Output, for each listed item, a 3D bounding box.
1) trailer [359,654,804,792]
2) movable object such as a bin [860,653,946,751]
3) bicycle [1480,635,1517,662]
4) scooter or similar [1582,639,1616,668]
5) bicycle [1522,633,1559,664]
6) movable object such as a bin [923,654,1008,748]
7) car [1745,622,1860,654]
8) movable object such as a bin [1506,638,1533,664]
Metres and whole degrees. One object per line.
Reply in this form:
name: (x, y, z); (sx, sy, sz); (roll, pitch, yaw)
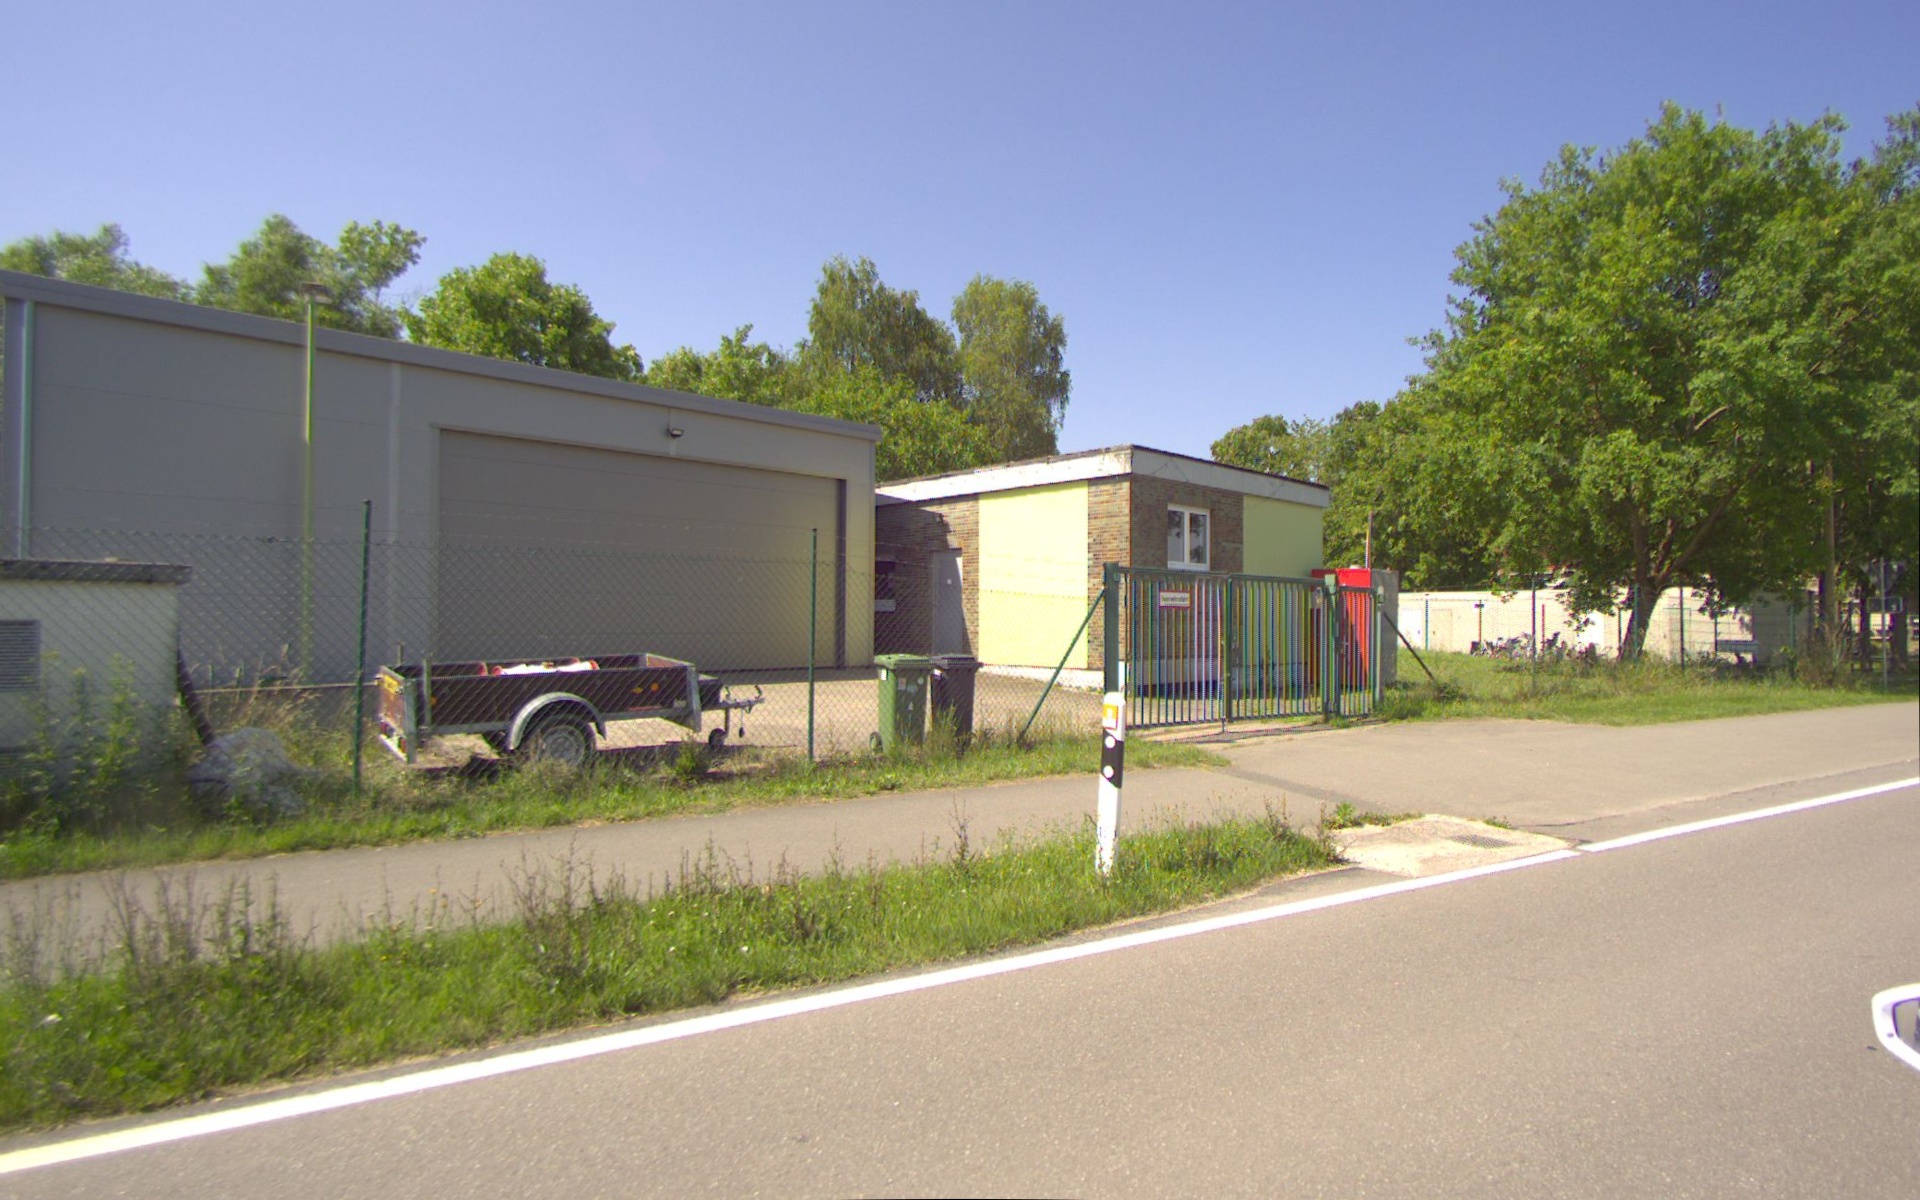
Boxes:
trailer: (-3.218, 0.957, 8.754); (3.327, 0.878, 1.619); (1, -2, -37)
movable object such as a bin: (-0.557, 0.966, 9.728); (0.645, 0.887, 0.637); (1, -1, -25)
bicycle: (22.042, 1.980, 41.111); (0.500, 1.096, 1.234); (1, -1, -31)
scooter or similar: (23.236, 1.931, 36.526); (0.529, 1.010, 0.888); (1, -2, -36)
bicycle: (22.989, 1.912, 39.790); (0.419, 1.229, 1.233); (1, -1, -32)
movable object such as a bin: (0.052, 0.988, 10.012); (0.645, 0.866, 0.637); (1, -1, -25)
car: (38.391, 1.716, 45.832); (1.743, 1.417, 3.772); (1, -2, -37)
movable object such as a bin: (21.830, 1.983, 39.178); (0.657, 1.027, 0.690); (1, -1, -34)
